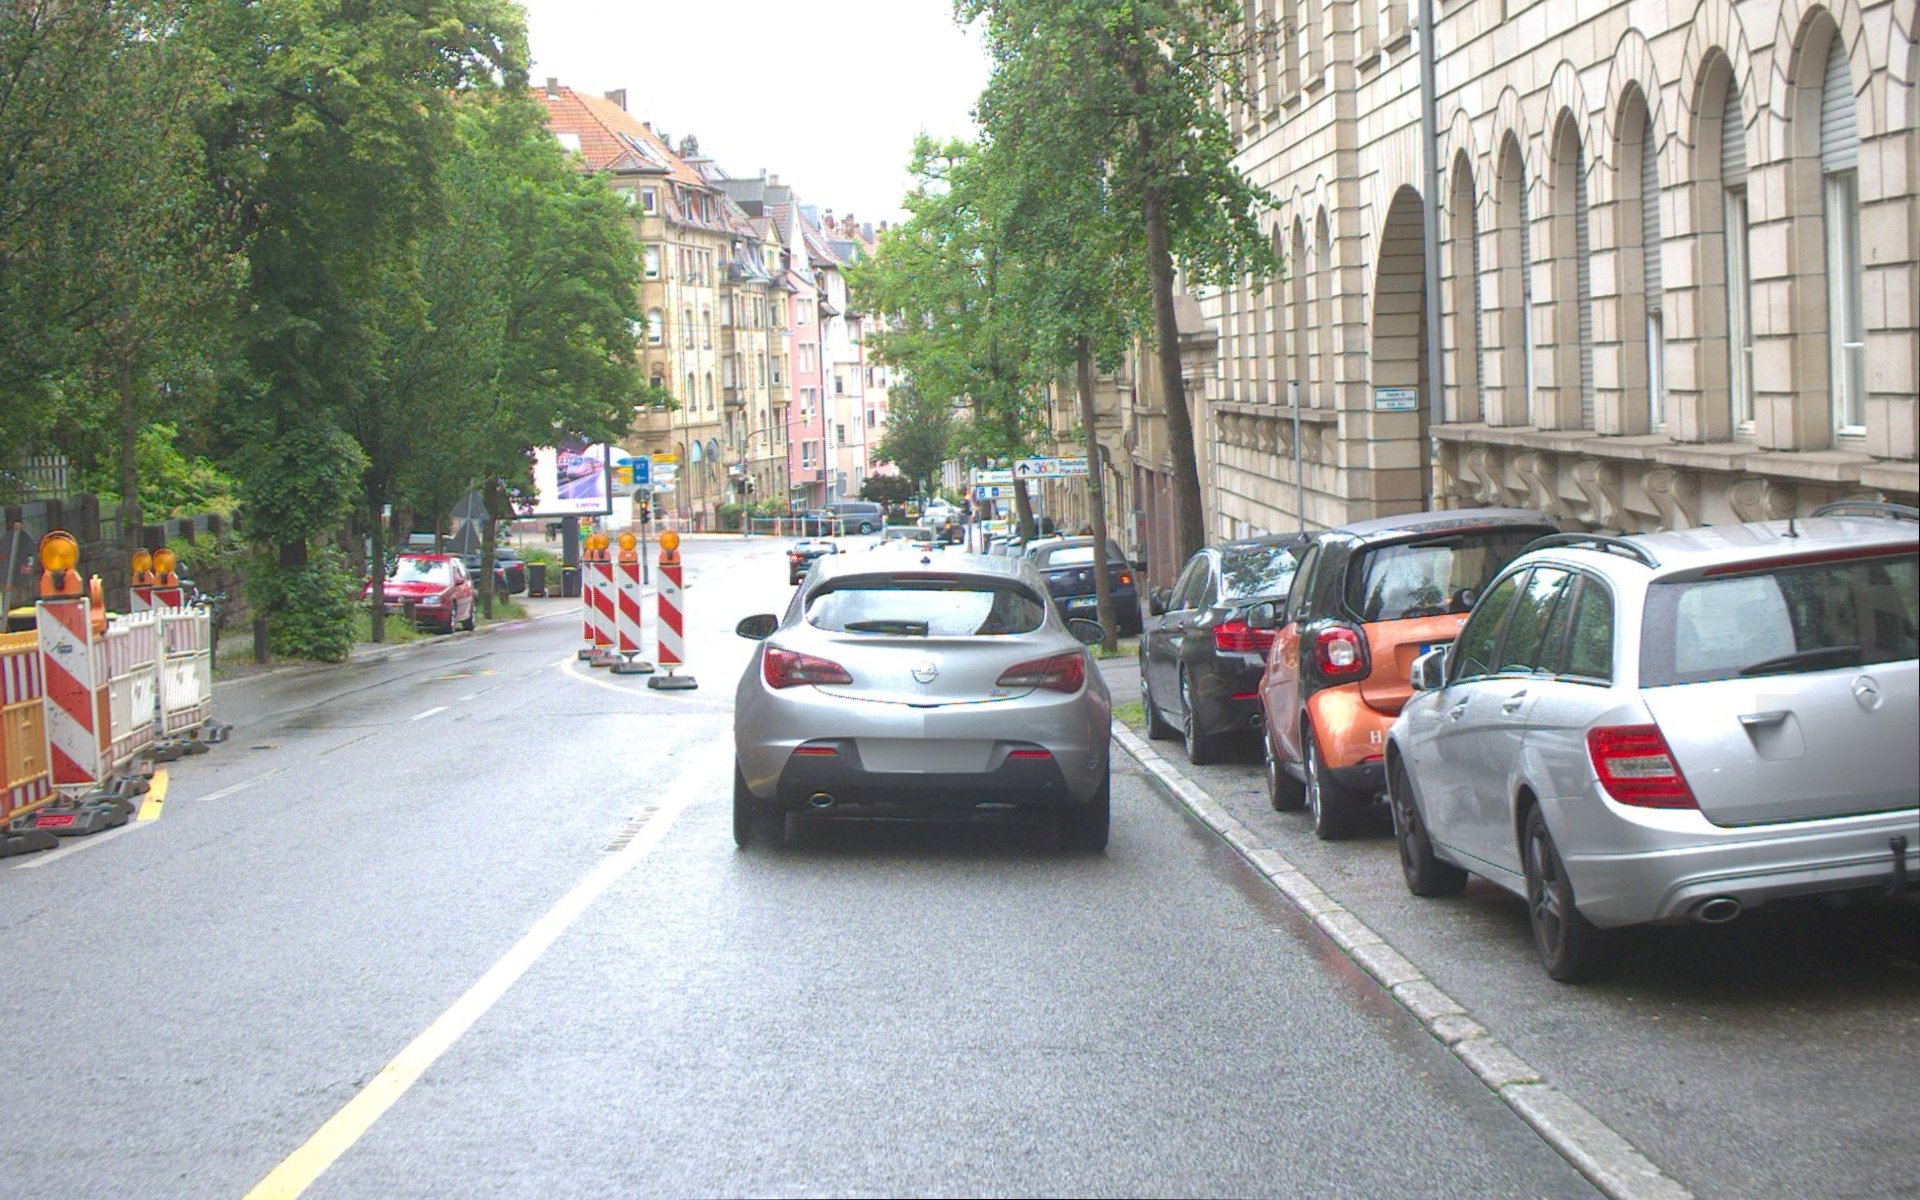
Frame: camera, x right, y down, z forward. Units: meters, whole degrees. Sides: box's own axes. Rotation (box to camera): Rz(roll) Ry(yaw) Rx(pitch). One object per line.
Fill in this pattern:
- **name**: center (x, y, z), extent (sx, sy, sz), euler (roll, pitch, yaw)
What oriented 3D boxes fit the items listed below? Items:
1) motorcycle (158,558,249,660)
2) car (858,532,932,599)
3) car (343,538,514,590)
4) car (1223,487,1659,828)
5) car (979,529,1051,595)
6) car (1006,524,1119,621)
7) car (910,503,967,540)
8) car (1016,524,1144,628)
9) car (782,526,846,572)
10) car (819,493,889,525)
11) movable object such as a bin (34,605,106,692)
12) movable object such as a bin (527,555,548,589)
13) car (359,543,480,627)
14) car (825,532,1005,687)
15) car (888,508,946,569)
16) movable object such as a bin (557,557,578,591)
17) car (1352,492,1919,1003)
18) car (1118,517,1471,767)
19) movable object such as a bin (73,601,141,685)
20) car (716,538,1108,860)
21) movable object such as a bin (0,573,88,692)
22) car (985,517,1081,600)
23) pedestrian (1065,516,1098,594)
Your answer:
- **motorcycle**: center (-10.161, 0.108, 46.229), extent (0.765, 1.341, 2.203), euler (1, 0, -1)
- **car**: center (-1.626, -0.880, 85.371), extent (1.656, 1.537, 3.666), euler (-3, 1, -2)
- **car**: center (-14.416, -0.984, 93.198), extent (4.308, 1.239, 1.643), euler (-2, 2, -19)
- **car**: center (2.417, 0.235, 17.971), extent (1.638, 1.515, 3.184), euler (-4, 1, -2)
- **car**: center (1.352, -0.963, 85.346), extent (1.637, 1.519, 3.858), euler (-2, 2, -1)
- **car**: center (1.625, -0.470, 55.751), extent (1.637, 1.464, 3.858), euler (-2, 2, -1)
- **car**: center (-1.003, -3.721, 163.023), extent (1.994, 1.678, 3.998), euler (2, 1, 9)
- **car**: center (1.733, -0.378, 50.638), extent (1.637, 1.424, 3.377), euler (-2, 2, -1)
- **car**: center (-4.954, -1.741, 117.006), extent (1.993, 1.495, 4.000), euler (-1, 1, -1)
- **car**: center (-6.106, -5.272, 199.190), extent (3.987, 1.744, 2.000), euler (1, 1, -1)
- **movable object such as a bin**: center (-9.575, 0.520, 36.988), extent (0.604, 0.904, 0.624), euler (1, 1, 0)
- **movable object such as a bin**: center (-13.211, -0.870, 107.444), extent (0.625, 1.055, 0.634), euler (1, 1, -7)
- **car**: center (-10.112, -0.302, 64.550), extent (1.637, 1.434, 4.080), euler (-2, 2, -1)
- **car**: center (-0.445, 0.056, 35.890), extent (1.772, 1.499, 3.869), euler (0, 2, 0)
- **car**: center (-1.261, -1.819, 101.648), extent (1.656, 1.776, 3.666), euler (0, 1, -1)
- **movable object such as a bin**: center (-12.263, -0.807, 107.380), extent (0.625, 1.055, 0.720), euler (1, 1, -7)
- **car**: center (2.642, 0.380, 12.502), extent (1.695, 1.426, 4.423), euler (-4, 2, -2)
- **car**: center (2.217, 0.207, 24.008), extent (1.757, 1.456, 4.724), euler (-4, 2, -2)
- **movable object such as a bin**: center (-9.526, 0.474, 38.412), extent (0.604, 0.904, 0.624), euler (1, 1, 0)
- **car**: center (-0.196, 0.423, 17.848), extent (1.811, 1.444, 3.869), euler (0, 2, 1)
- **movable object such as a bin**: center (-9.725, 0.333, 36.031), extent (0.945, 1.210, 0.856), euler (1, 1, 0)
- **car**: center (1.475, -0.878, 70.582), extent (1.637, 1.597, 3.858), euler (-2, 2, -3)
- **pedestrian**: center (2.892, -1.071, 81.918), extent (0.716, 1.863, 0.636), euler (1, 0, -1)
